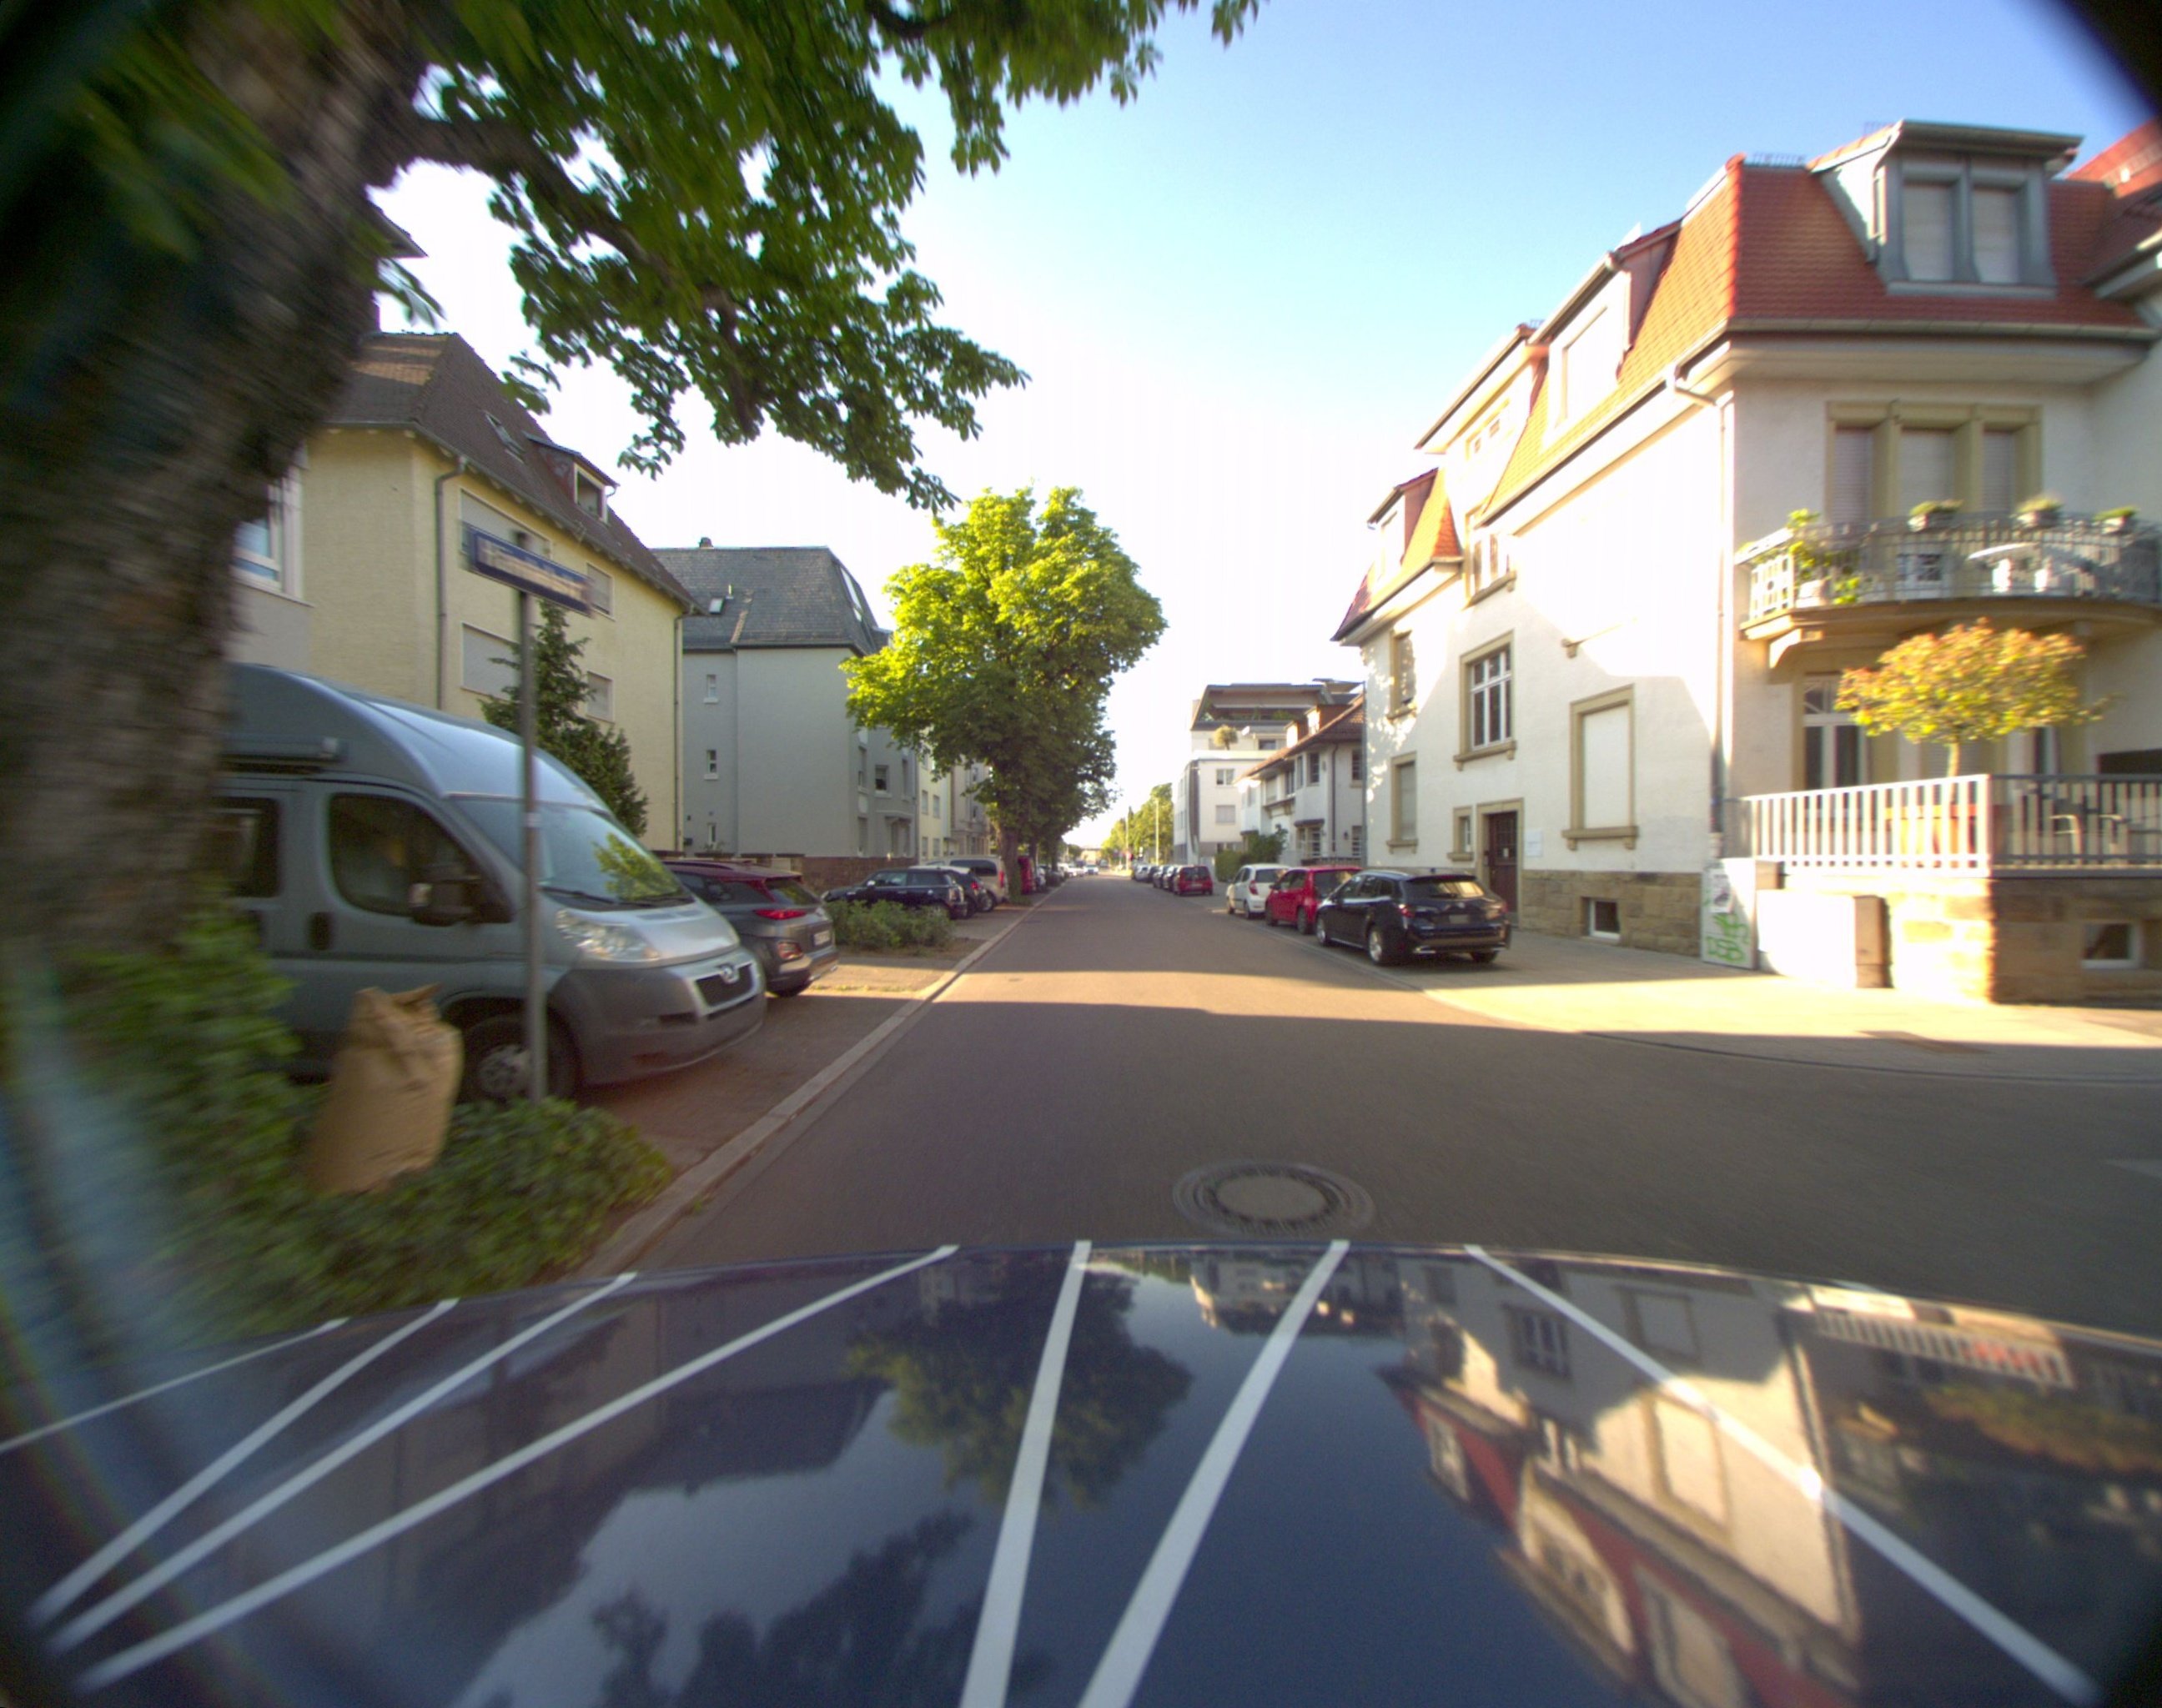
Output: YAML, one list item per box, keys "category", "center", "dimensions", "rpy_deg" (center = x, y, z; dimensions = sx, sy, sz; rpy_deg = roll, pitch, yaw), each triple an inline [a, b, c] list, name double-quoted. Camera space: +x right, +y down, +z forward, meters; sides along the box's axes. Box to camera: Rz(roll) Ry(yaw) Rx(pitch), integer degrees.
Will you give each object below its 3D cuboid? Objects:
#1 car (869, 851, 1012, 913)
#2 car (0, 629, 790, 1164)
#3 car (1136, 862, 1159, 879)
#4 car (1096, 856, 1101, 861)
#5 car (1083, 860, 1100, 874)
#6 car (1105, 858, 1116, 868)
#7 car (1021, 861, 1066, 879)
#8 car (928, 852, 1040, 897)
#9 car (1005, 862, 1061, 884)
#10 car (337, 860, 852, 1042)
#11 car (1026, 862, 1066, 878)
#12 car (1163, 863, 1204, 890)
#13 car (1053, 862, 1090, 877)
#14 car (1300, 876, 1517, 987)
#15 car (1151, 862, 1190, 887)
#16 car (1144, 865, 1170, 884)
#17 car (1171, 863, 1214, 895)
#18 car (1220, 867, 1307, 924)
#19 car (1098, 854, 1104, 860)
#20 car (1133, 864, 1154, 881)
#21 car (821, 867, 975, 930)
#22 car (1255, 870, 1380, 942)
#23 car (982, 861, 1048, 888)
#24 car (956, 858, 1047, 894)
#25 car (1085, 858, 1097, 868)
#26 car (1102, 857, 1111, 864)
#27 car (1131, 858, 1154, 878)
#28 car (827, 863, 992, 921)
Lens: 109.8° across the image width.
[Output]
- category: "car"
  center: [-4.463, 0.886, 24.574]
  dimensions: [4.313, 1.874, 1.758]
  rpy_deg: [1, 0, -2]
- category: "car"
  center: [-4.996, 0.238, 5.232]
  dimensions: [5.108, 2.885, 2.076]
  rpy_deg: [1, -1, -1]
- category: "car"
  center: [5.674, 1.403, 65.344]
  dimensions: [1.723, 1.386, 3.909]
  rpy_deg: [-1, -1, 2]
- category: "car"
  center: [6.002, 1.613, 262.833]
  dimensions: [1.913, 1.678, 4.199]
  rpy_deg: [-1, -1, 1]
- category: "car"
  center: [1.327, 1.682, 97.111]
  dimensions: [1.999, 1.690, 4.425]
  rpy_deg: [0, -1, 0]
- category: "car"
  center: [5.469, 1.705, 139.745]
  dimensions: [1.913, 1.678, 4.199]
  rpy_deg: [-1, -1, 1]
- category: "car"
  center: [-3.373, 1.425, 67.870]
  dimensions: [3.828, 1.477, 1.601]
  rpy_deg: [1, -1, -6]
- category: "car"
  center: [-4.374, 0.925, 34.736]
  dimensions: [4.819, 1.925, 1.950]
  rpy_deg: [1, -1, 1]
- category: "car"
  center: [-3.226, 1.277, 51.960]
  dimensions: [3.680, 1.433, 1.602]
  rpy_deg: [1, -1, 1]
- category: "car"
  center: [-4.795, 0.925, 7.975]
  dimensions: [4.200, 1.559, 1.759]
  rpy_deg: [2, -1, -1]
- category: "car"
  center: [-3.425, 1.562, 75.333]
  dimensions: [3.825, 1.477, 1.602]
  rpy_deg: [1, -1, 1]
- category: "car"
  center: [5.680, 1.232, 42.716]
  dimensions: [1.742, 1.451, 4.379]
  rpy_deg: [-1, -1, 1]
- category: "car"
  center: [-1.093, 1.771, 86.583]
  dimensions: [2.103, 1.700, 4.595]
  rpy_deg: [0, -1, -33]
- category: "car"
  center: [5.141, 1.126, 12.697]
  dimensions: [1.657, 1.445, 4.631]
  rpy_deg: [-1, -1, 1]
- category: "car"
  center: [5.674, 1.296, 48.751]
  dimensions: [1.743, 1.451, 4.565]
  rpy_deg: [-1, -1, -2]
- category: "car"
  center: [5.964, 1.605, 60.049]
  dimensions: [1.723, 1.386, 3.908]
  rpy_deg: [-1, -1, 2]
- category: "car"
  center: [5.413, 1.202, 37.190]
  dimensions: [1.654, 1.474, 3.430]
  rpy_deg: [-1, -1, 2]
- category: "car"
  center: [5.261, 1.141, 22.346]
  dimensions: [1.585, 1.511, 3.706]
  rpy_deg: [-1, -1, -1]
- category: "car"
  center: [5.686, 0.957, 216.413]
  dimensions: [1.913, 1.678, 4.199]
  rpy_deg: [-1, -1, 1]
- category: "car"
  center: [5.683, 1.716, 69.791]
  dimensions: [1.723, 1.489, 3.909]
  rpy_deg: [-1, -1, 2]
- category: "car"
  center: [-4.555, 1.097, 19.279]
  dimensions: [3.411, 1.419, 1.759]
  rpy_deg: [2, -1, 1]
- category: "car"
  center: [5.404, 1.133, 17.838]
  dimensions: [1.586, 1.468, 3.706]
  rpy_deg: [-1, -1, -3]
- category: "car"
  center: [-3.855, 1.176, 44.577]
  dimensions: [3.680, 1.488, 1.676]
  rpy_deg: [1, -1, 1]
- category: "car"
  center: [-3.937, 1.085, 38.037]
  dimensions: [4.207, 1.694, 1.792]
  rpy_deg: [1, -1, 4]
- category: "car"
  center: [1.757, 1.588, 133.279]
  dimensions: [1.913, 1.678, 4.199]
  rpy_deg: [-1, -1, 1]
- category: "car"
  center: [5.787, 1.495, 171.125]
  dimensions: [1.913, 1.678, 4.199]
  rpy_deg: [-1, -1, 1]
- category: "car"
  center: [6.071, 1.371, 75.223]
  dimensions: [1.913, 1.936, 4.199]
  rpy_deg: [-1, -1, 1]
- category: "car"
  center: [-4.810, 1.062, 21.782]
  dimensions: [4.313, 1.531, 1.758]
  rpy_deg: [1, -1, -2]
